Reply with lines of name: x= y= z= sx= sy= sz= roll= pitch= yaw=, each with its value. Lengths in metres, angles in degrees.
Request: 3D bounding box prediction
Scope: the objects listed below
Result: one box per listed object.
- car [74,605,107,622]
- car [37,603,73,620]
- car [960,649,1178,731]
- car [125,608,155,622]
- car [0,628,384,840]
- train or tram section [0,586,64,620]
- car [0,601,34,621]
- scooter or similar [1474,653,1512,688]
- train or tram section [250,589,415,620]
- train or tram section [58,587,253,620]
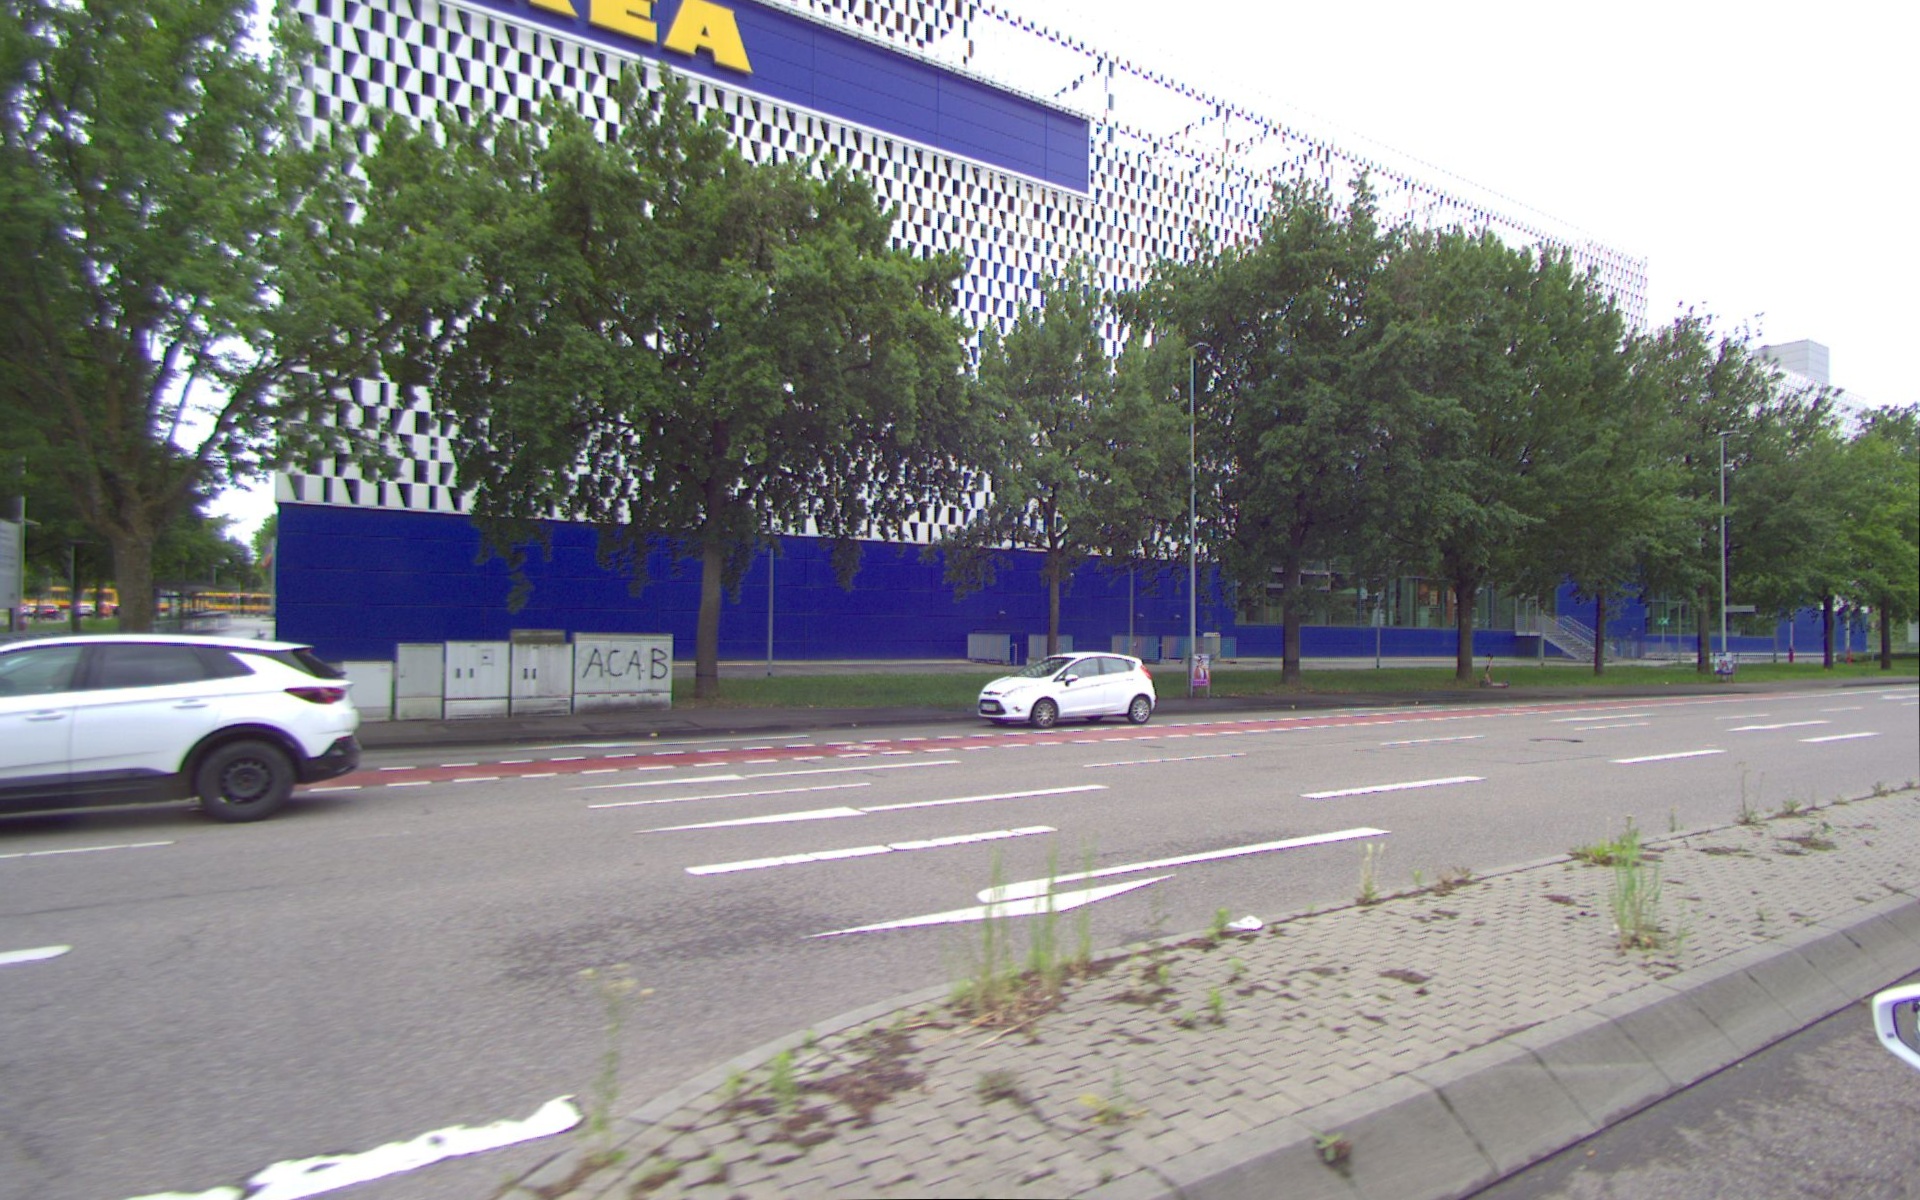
car: x=-102.646 y=1.655 z=118.630 sx=1.823 sy=1.911 sz=3.901 roll=2 pitch=-2 yaw=-25
car: x=-95.865 y=1.235 z=106.436 sx=1.827 sy=1.677 sz=4.326 roll=3 pitch=-2 yaw=-30
car: x=2.285 y=1.780 z=20.675 sx=4.286 sy=1.481 sz=1.847 roll=1 pitch=-3 yaw=-33
car: x=-107.444 y=1.968 z=131.716 sx=1.820 sy=1.742 sz=3.907 roll=-1 pitch=0 yaw=-20
car: x=-7.640 y=1.110 z=8.737 sx=4.526 sy=1.615 sz=1.984 roll=1 pitch=-5 yaw=-32
train or tram section: x=-142.952 y=0.330 z=142.693 sx=23.024 sy=4.903 sz=3.602 roll=1 pitch=0 yaw=-32
car: x=-108.340 y=1.268 z=115.465 sx=1.977 sy=2.249 sz=3.968 roll=1 pitch=-2 yaw=-30
scooter or similar: x=19.565 y=2.579 z=36.874 sx=1.363 sy=1.212 sz=0.651 roll=1 pitch=0 yaw=-34
train or tram section: x=-103.727 y=0.890 z=166.983 sx=23.024 sy=4.903 sz=3.602 roll=1 pitch=0 yaw=-32
train or tram section: x=-123.274 y=0.611 z=154.847 sx=23.024 sy=4.903 sz=3.602 roll=1 pitch=0 yaw=-32
